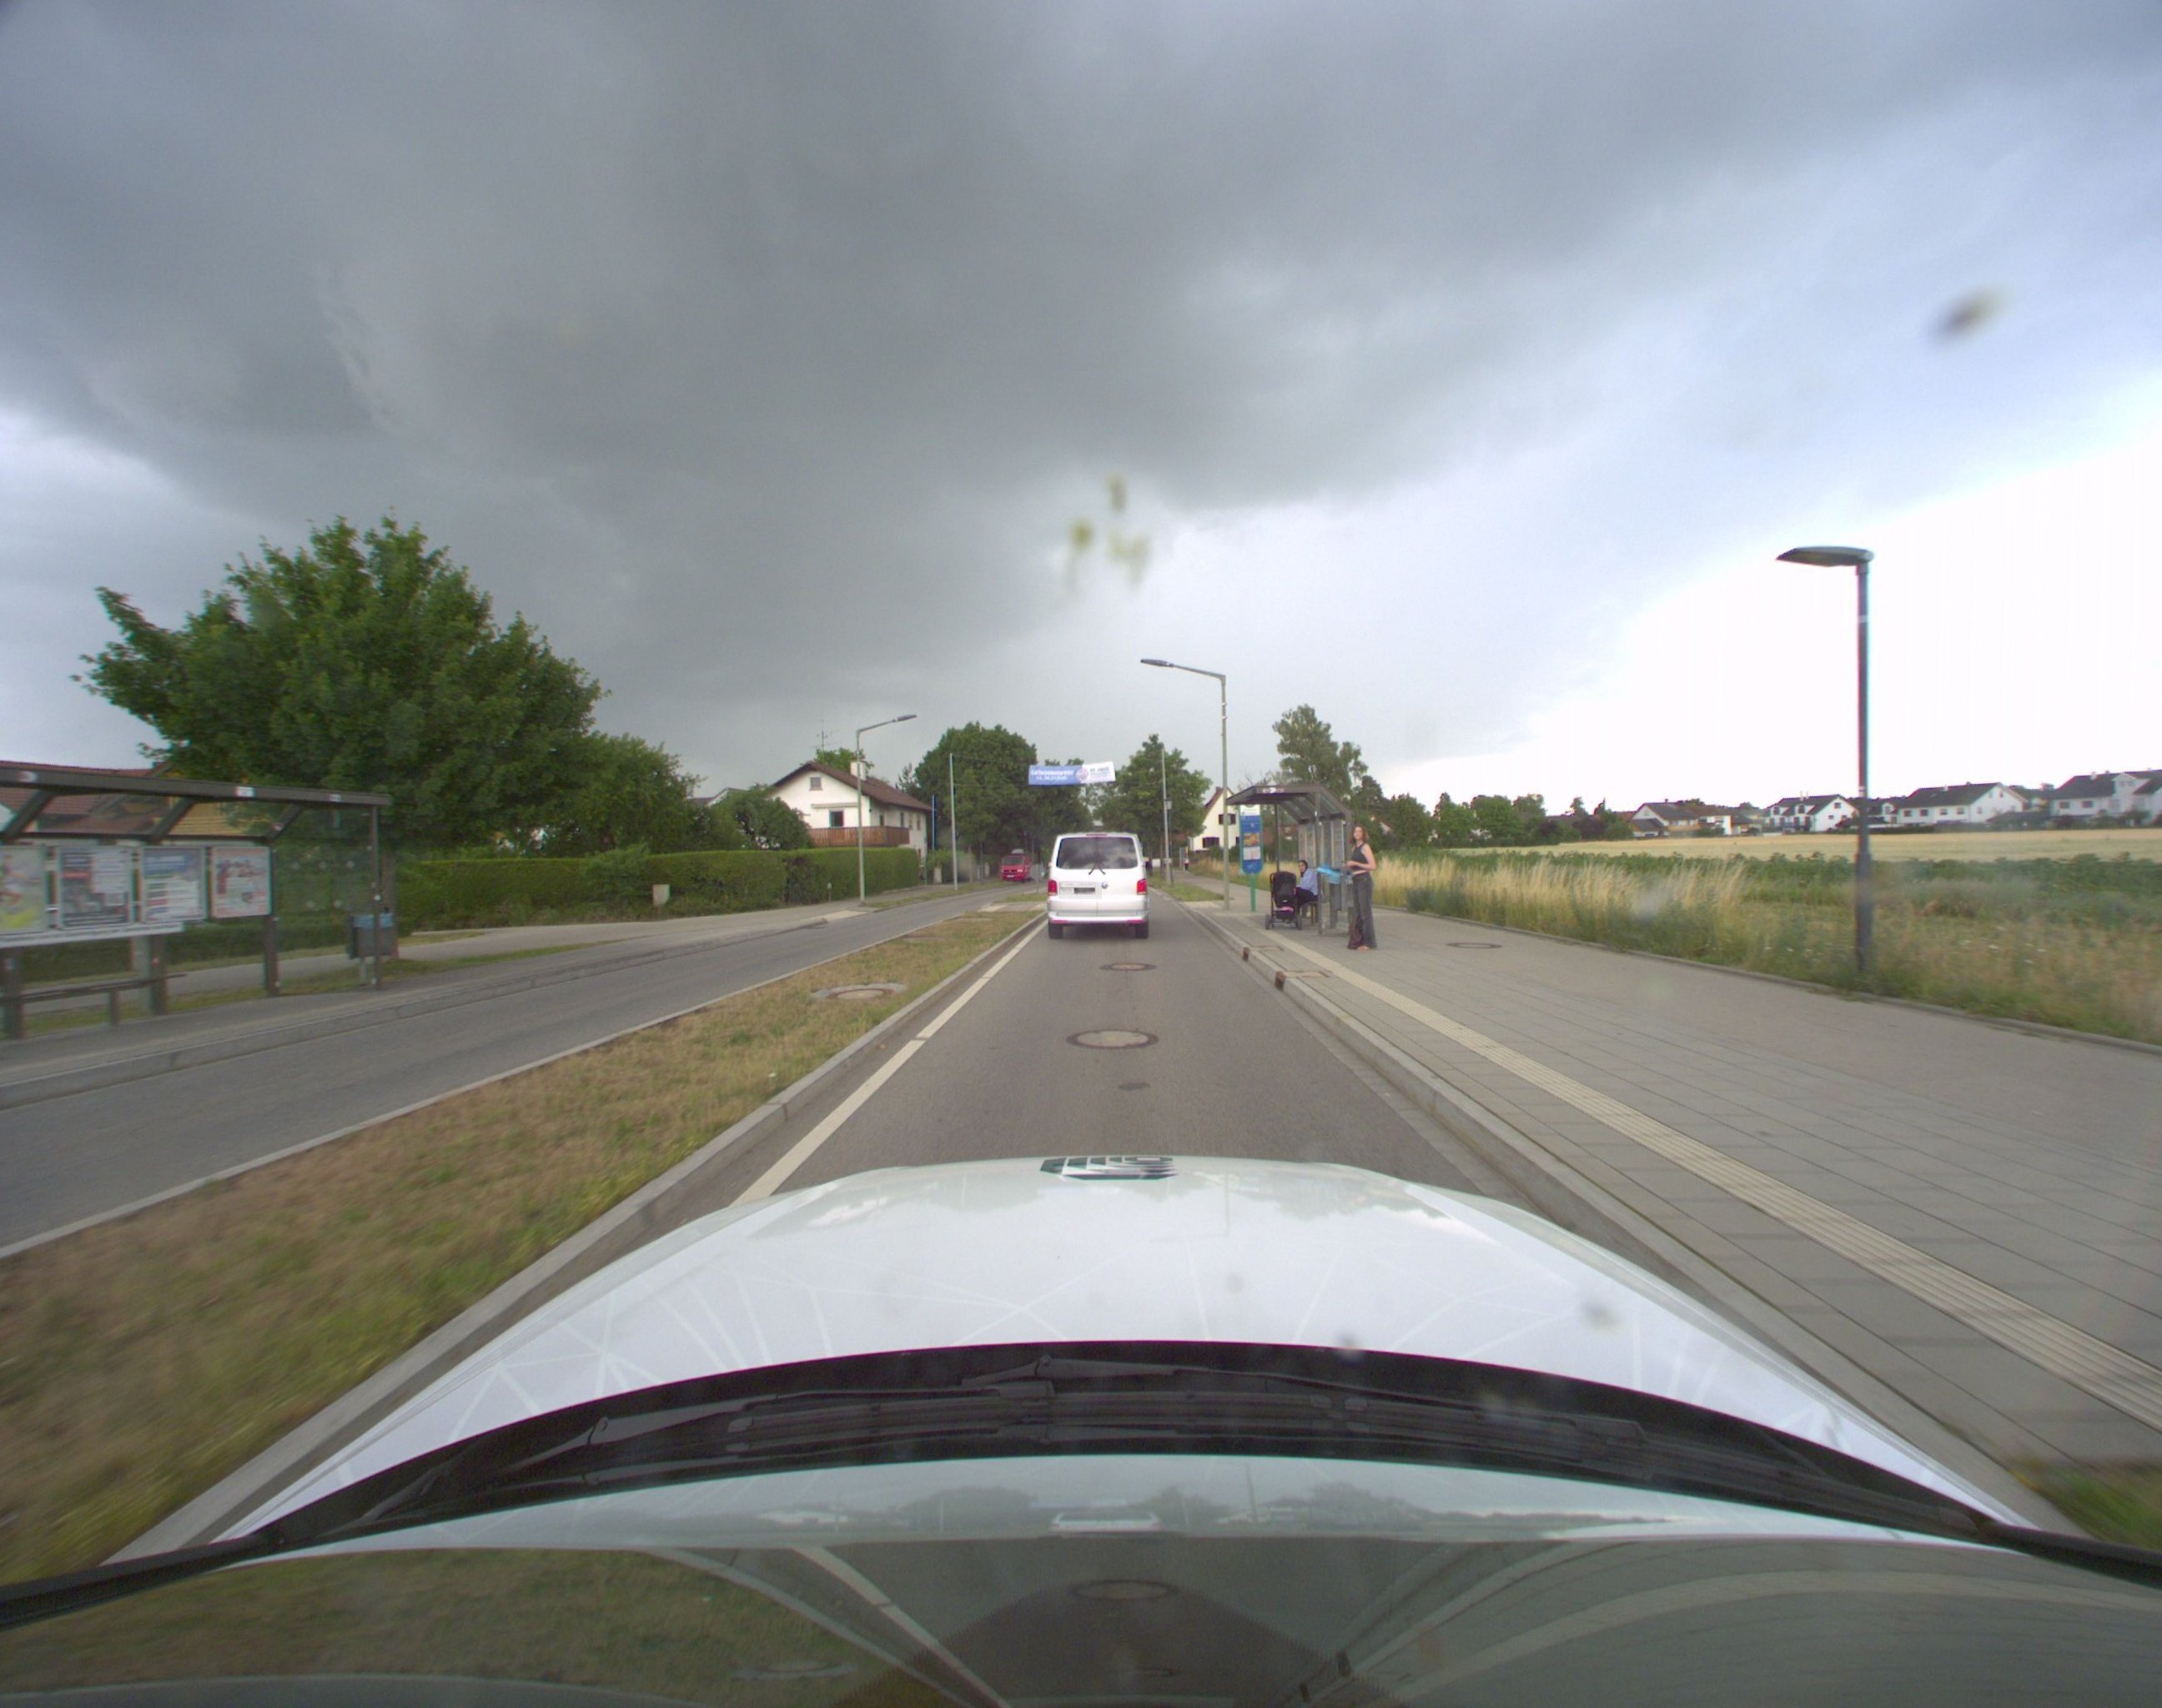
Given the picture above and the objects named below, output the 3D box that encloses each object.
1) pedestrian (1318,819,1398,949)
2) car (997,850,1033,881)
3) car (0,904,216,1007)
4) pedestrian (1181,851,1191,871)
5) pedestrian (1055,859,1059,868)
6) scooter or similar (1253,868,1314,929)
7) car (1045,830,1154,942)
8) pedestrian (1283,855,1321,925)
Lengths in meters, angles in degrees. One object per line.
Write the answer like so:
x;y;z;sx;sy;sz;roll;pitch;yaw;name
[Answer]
4.003;0.420;11.805;0.784;1.792;0.773;0;-1;-22;pedestrian
-4.597;0.775;57.504;1.822;2.030;5.050;0;0;3;car
-22.779;2.266;18.530;3.974;2.013;2.000;-2;0;0;car
9.268;0.636;72.192;0.833;1.755;0.871;-1;-1;7;pedestrian
-3.919;1.519;133.080;0.621;1.549;0.522;0;-1;-2;pedestrian
3.729;0.795;14.943;0.699;1.062;1.067;-1;-1;39;scooter or similar
0.383;0.578;16.232;1.881;1.912;4.001;-1;-1;2;car
4.173;0.666;15.398;0.660;1.302;0.506;0;-1;11;pedestrian
